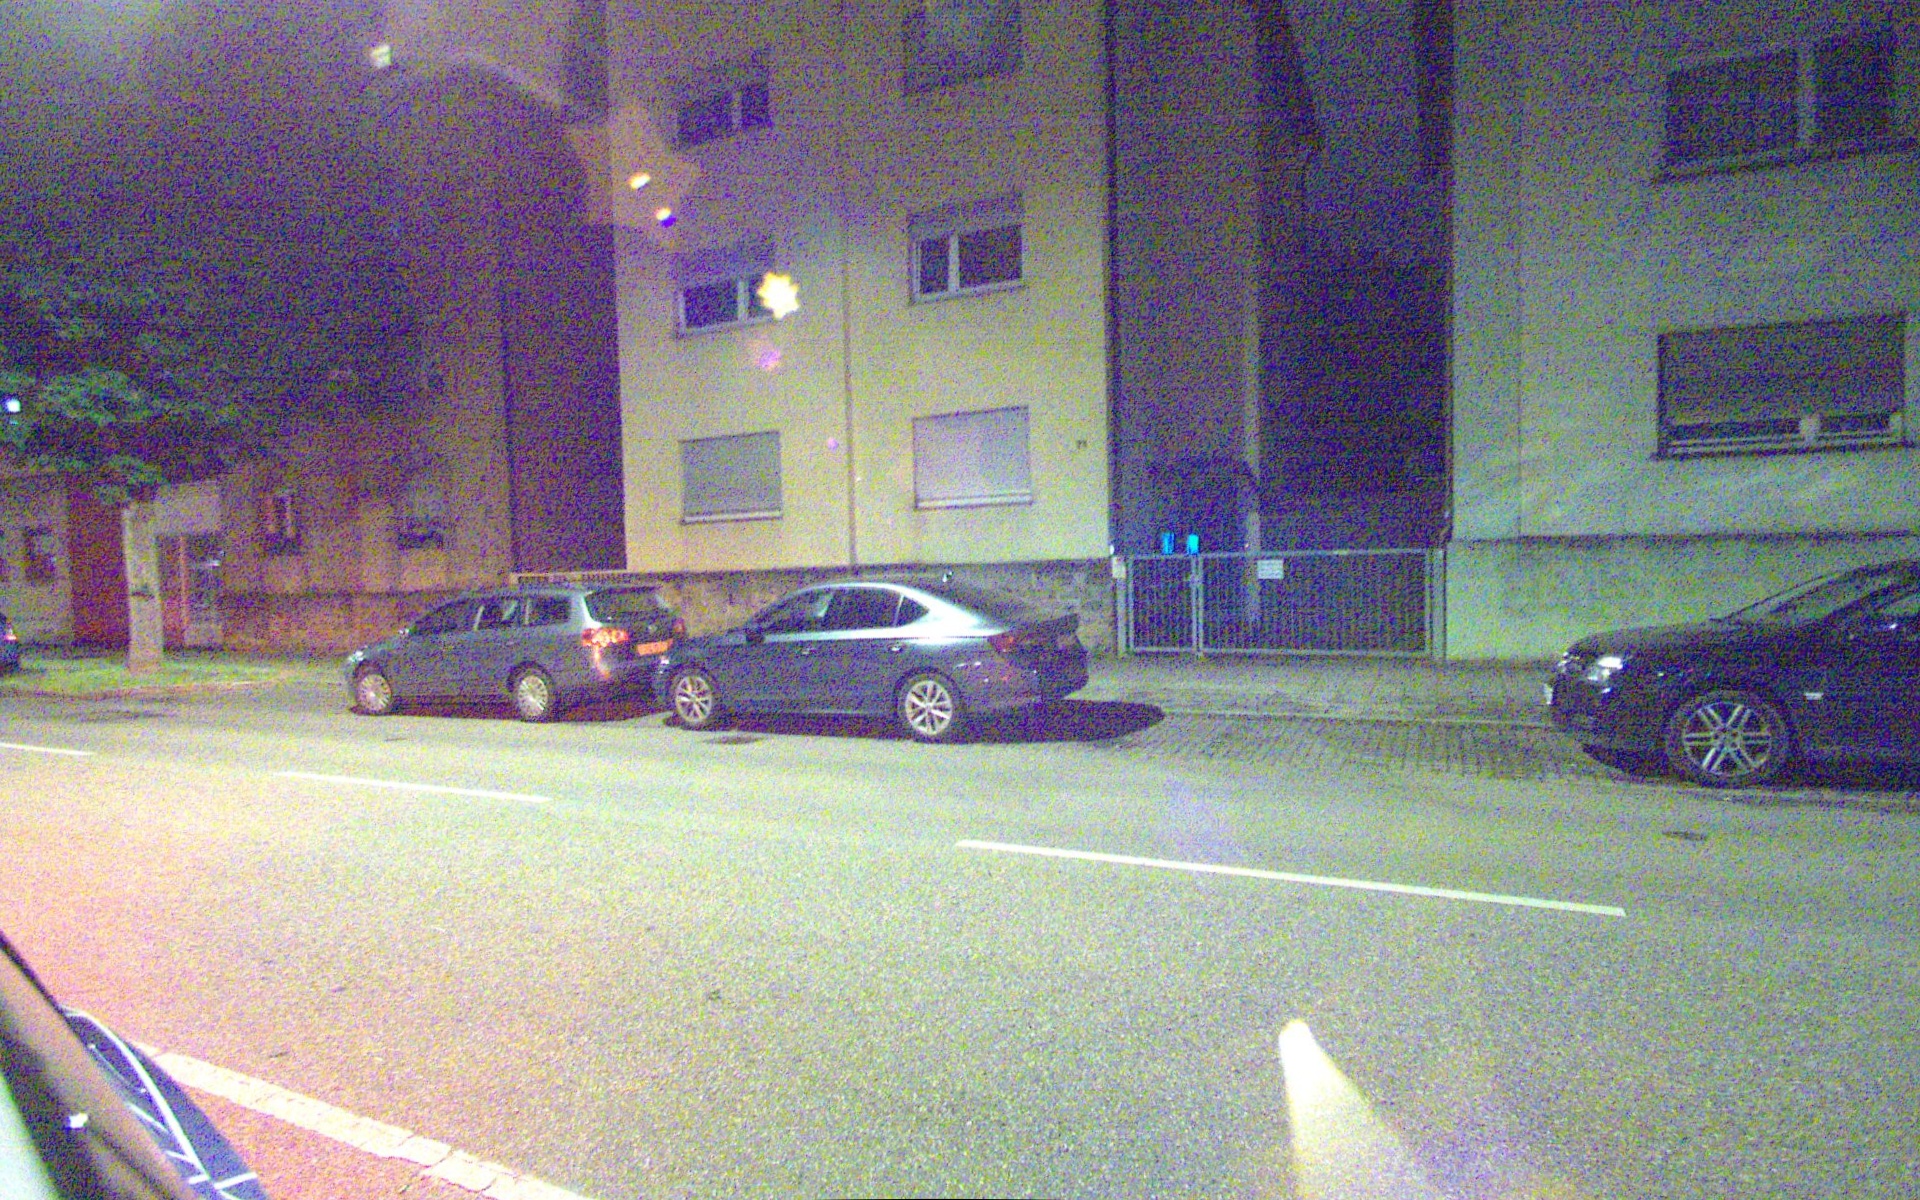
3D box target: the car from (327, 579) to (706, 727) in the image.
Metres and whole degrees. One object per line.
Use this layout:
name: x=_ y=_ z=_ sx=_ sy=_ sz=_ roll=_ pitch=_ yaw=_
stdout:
car: x=-5.306 y=0.567 z=12.052 sx=4.324 sy=1.444 sz=1.631 roll=-1 pitch=3 yaw=25

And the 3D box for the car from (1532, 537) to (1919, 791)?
car: x=6.319 y=0.329 z=6.525 sx=4.377 sy=1.444 sz=1.852 roll=-1 pitch=3 yaw=24

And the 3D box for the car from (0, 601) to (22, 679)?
car: x=-19.945 y=0.799 z=19.494 sx=3.496 sy=1.475 sz=1.619 roll=-1 pitch=1 yaw=26

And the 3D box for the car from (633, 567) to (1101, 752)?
car: x=-0.952 y=0.500 z=9.851 sx=4.323 sy=1.444 sz=1.544 roll=-1 pitch=3 yaw=26
